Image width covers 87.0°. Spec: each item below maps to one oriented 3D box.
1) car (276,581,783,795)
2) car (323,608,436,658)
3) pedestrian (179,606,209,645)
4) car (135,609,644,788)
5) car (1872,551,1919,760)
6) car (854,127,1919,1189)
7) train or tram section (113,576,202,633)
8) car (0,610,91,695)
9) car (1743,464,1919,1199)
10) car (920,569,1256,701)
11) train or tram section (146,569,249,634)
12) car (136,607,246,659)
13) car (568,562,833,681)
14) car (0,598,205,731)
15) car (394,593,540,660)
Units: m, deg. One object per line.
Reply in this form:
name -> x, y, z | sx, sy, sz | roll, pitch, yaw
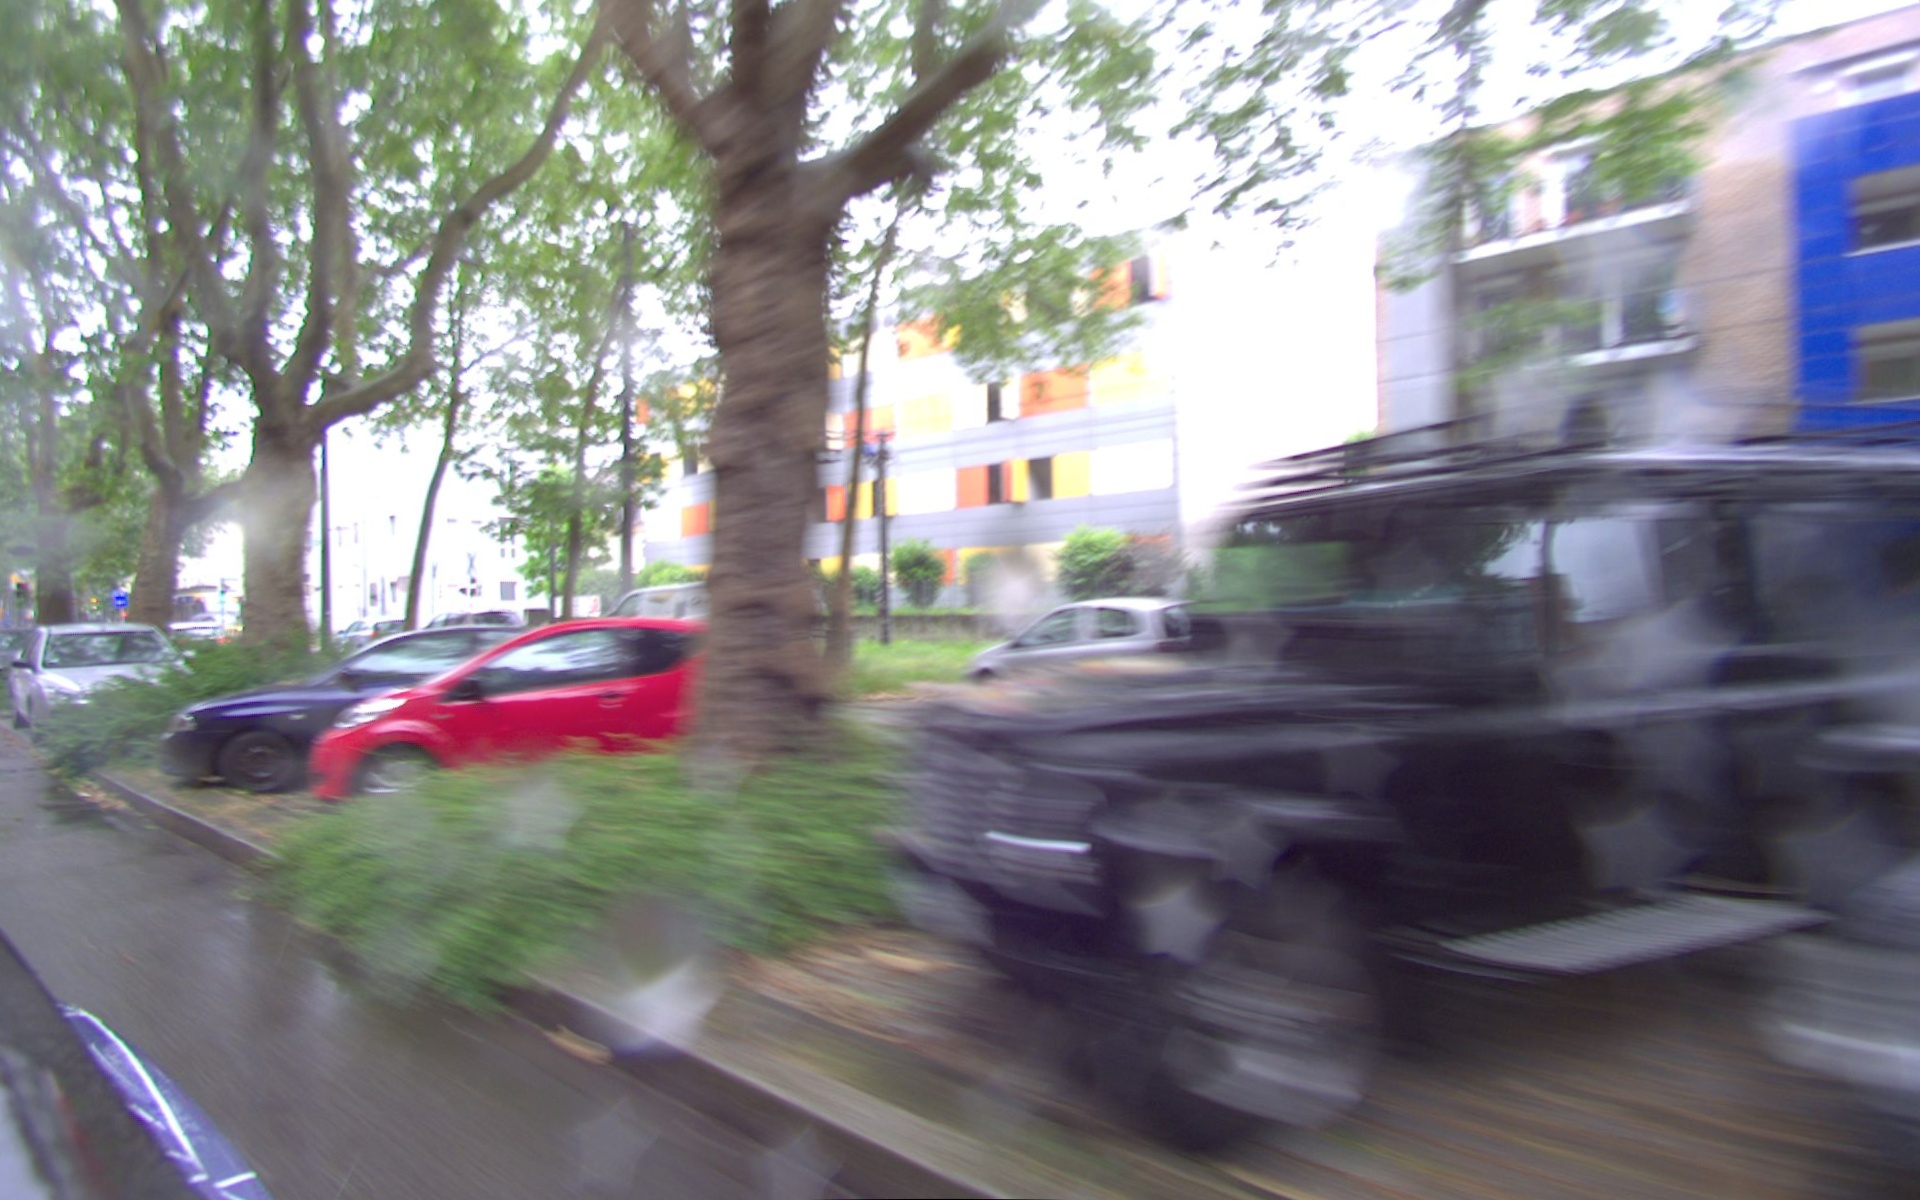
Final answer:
car -> -3.347, 0.615, 8.304 | 3.442, 1.447, 1.787 | 0, -2, -21
car -> -18.476, 1.049, 32.122 | 4.387, 1.474, 1.883 | -2, -1, 43
pedestrian -> -36.681, 1.205, 48.483 | 1.205, 1.813, 0.926 | -1, -1, 41
car -> -5.258, 0.834, 9.865 | 3.976, 1.446, 1.787 | 0, -2, -24
car -> 9.280, 0.345, 6.896 | 4.417, 1.545, 1.885 | -2, -1, 40
car -> 2.075, 0.130, 3.871 | 4.580, 2.300, 2.018 | 0, -2, -18
train or tram section -> -55.732, 0.379, 70.125 | 11.548, 3.669, 2.869 | -1, 0, 42
car -> -18.951, 1.028, 20.146 | 4.619, 1.496, 1.876 | -2, 0, 41
car -> 3.927, 0.428, 1.825 | 4.579, 1.336, 1.853 | 0, -2, -21
car -> 1.650, 0.463, 13.884 | 4.212, 1.545, 1.885 | -2, -1, 40
train or tram section -> -47.137, 0.167, 62.403 | 11.548, 3.669, 2.869 | -1, 0, 42
car -> -23.216, 0.982, 30.510 | 3.997, 1.431, 1.815 | -1, 0, 40
car -> -5.141, 0.410, 19.606 | 5.426, 2.012, 2.035 | -2, 0, 38
car -> -11.992, 0.815, 13.944 | 4.205, 1.526, 1.711 | -2, 0, 41
car -> -13.073, 0.699, 26.714 | 4.465, 1.612, 1.884 | -2, -1, 42
